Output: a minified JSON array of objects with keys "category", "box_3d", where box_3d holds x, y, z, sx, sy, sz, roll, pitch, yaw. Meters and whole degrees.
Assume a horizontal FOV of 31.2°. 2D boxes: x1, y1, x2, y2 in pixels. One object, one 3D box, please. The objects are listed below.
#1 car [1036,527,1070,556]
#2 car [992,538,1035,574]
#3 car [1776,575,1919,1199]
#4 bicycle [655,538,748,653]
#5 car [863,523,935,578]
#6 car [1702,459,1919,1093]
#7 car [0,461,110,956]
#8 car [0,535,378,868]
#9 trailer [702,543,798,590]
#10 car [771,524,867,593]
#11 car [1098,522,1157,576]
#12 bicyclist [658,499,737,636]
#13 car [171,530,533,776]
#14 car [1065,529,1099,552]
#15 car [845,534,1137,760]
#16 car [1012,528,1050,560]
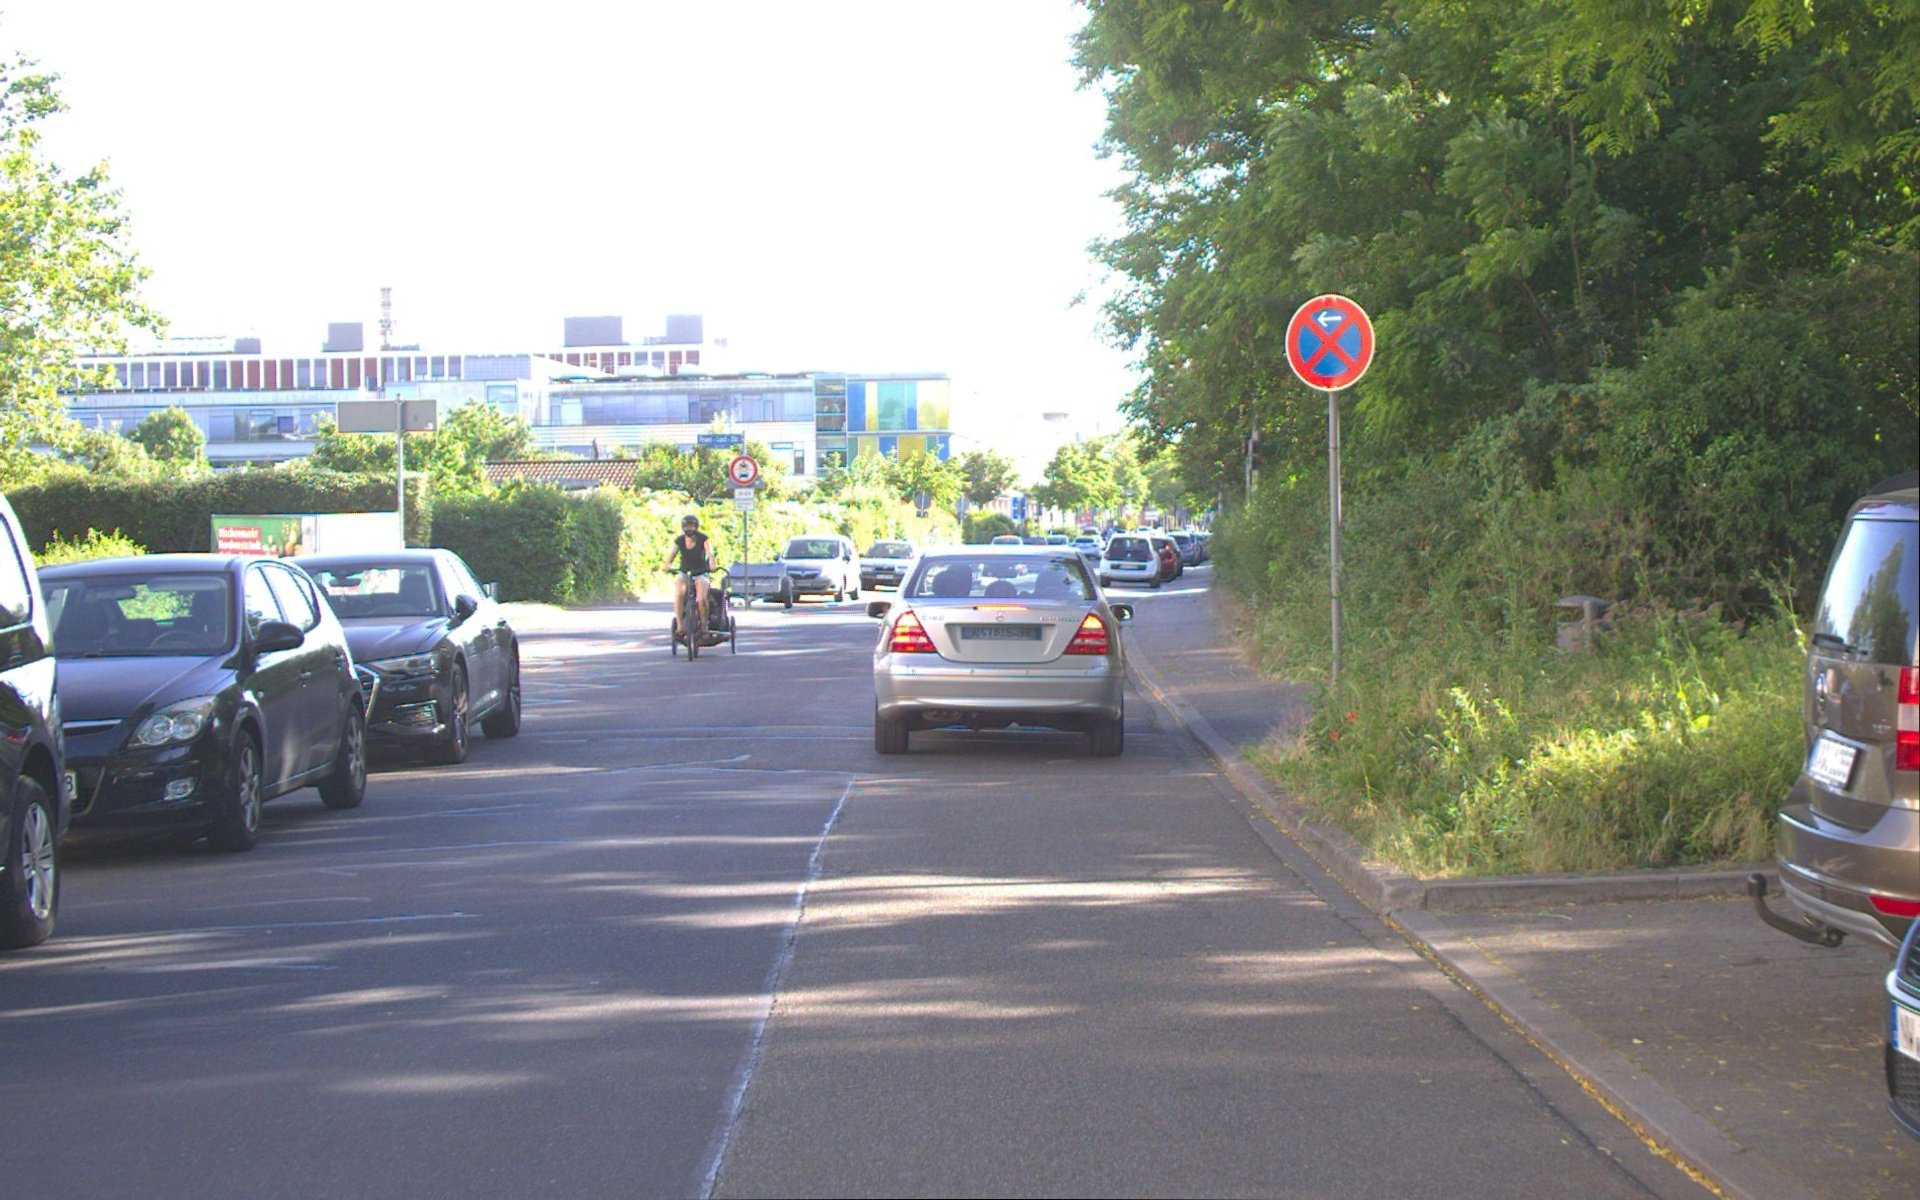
[{"category":"car","box_3d":[4.952,-3.118,182.688,1.560,1.489,3.758,-1,1,5]},{"category":"car","box_3d":[2.296,-1.897,147.502,1.560,1.489,3.570,-1,1,5]},{"category":"car","box_3d":[4.218,0.604,7.401,4.451,1.409,1.775,-2,1,-1]},{"category":"bicycle","box_3d":[-3.212,-0.087,43.022,0.851,1.366,3.220,-1,1,1]},{"category":"car","box_3d":[-1.773,-1.468,100.813,1.644,1.551,4.417,-1,1,5]},{"category":"car","box_3d":[4.436,0.387,10.005,4.148,1.689,1.775,-2,1,2]},{"category":"car","box_3d":[-4.376,0.441,11.458,1.840,1.774,4.889,-2,1,0]},{"category":"car","box_3d":[-4.360,0.450,17.817,1.840,1.449,4.018,-3,2,2]},{"category":"trailer","box_3d":[-4.451,-0.719,73.104,1.544,0.950,2.646,1,1,7]},{"category":"car","box_3d":[-3.371,-1.024,83.082,1.644,1.594,4.310,1,1,7]},{"category":"car","box_3d":[4.894,-1.495,100.399,1.556,1.533,3.555,1,1,5]},{"category":"bicyclist","box_3d":[-3.232,-0.405,42.445,0.844,1.652,1.064,-1,1,1]},{"category":"car","box_3d":[-4.206,0.293,24.483,1.727,1.458,4.683,-2,2,0]},{"category":"car","box_3d":[7.534,-3.673,212.005,1.855,1.423,4.133,1,1,5]},{"category":"car","box_3d":[0.134,0.266,24.208,1.737,1.448,4.001,0,1,-4]},{"category":"car","box_3d":[3.433,-2.726,165.717,1.560,1.489,3.570,2,1,5]}]
